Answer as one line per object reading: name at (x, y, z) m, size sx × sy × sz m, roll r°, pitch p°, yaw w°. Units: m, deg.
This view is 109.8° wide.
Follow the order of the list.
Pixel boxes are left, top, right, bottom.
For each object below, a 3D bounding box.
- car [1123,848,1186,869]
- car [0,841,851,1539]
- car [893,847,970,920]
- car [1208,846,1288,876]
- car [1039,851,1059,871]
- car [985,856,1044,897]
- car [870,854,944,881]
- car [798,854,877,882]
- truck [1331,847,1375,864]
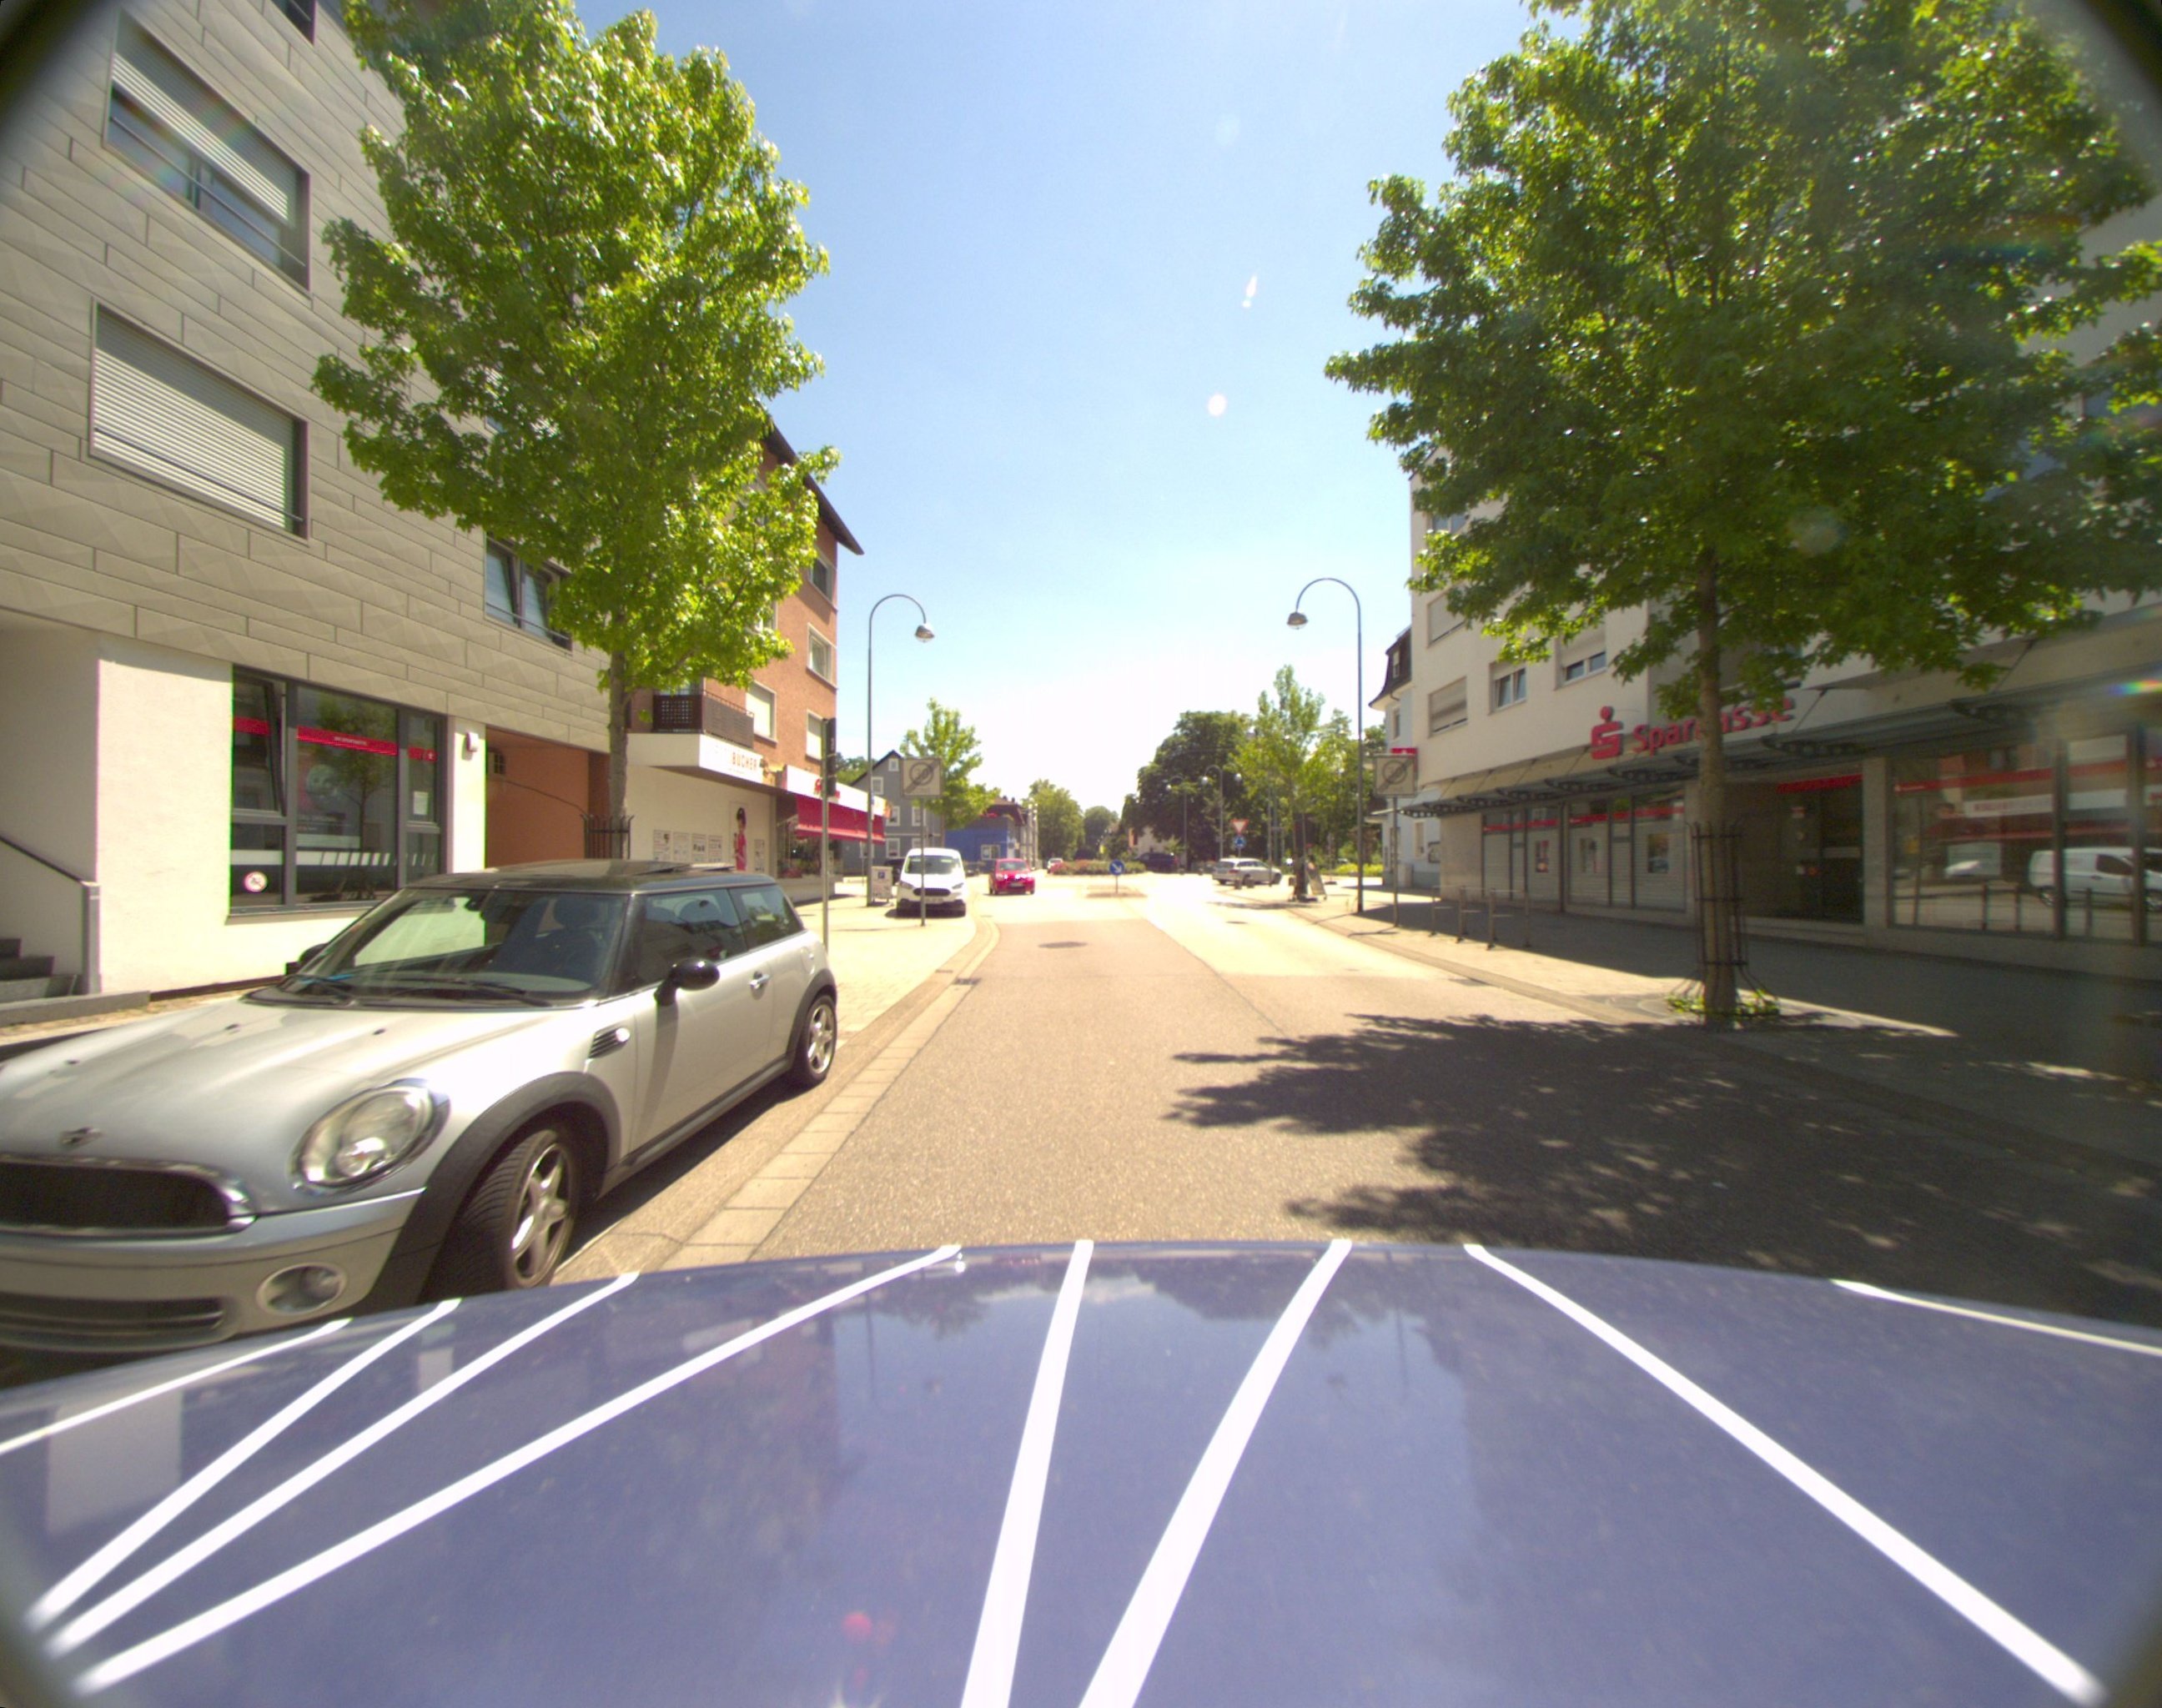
car at (5.700, 0.354, 58.518) m, size 4.610 × 1.575 × 1.951 m, roll 0°, pitch -2°, yaw 14°
car at (-2.501, 0.746, 3.600) m, size 1.626 × 1.550 × 3.840 m, roll 0°, pitch 0°, yaw 0°
car at (-3.866, 0.713, 19.961) m, size 1.753 × 1.714 × 3.906 m, roll 1°, pitch 0°, yaw -10°
car at (9.668, 0.339, 43.818) m, size 5.009 × 1.584 × 1.994 m, roll -1°, pitch 2°, yaw -43°
car at (-3.463, 0.764, 83.684) m, size 1.999 × 2.001 × 4.001 m, roll 1°, pitch -2°, yaw 0°
car at (-2.912, 0.896, 32.448) m, size 1.835 × 1.524 × 3.995 m, roll -3°, pitch 1°, yaw -14°
car at (-10.378, 0.817, 45.524) m, size 3.997 × 1.554 × 1.805 m, roll 1°, pitch -2°, yaw 1°
car at (-15.929, 0.898, 49.921) m, size 4.523 × 1.678 × 2.000 m, roll -1°, pitch 1°, yaw -1°
truck at (42.599, 0.264, 119.149) m, size 6.201 × 2.428 × 2.270 m, roll -1°, pitch -3°, yaw 32°
